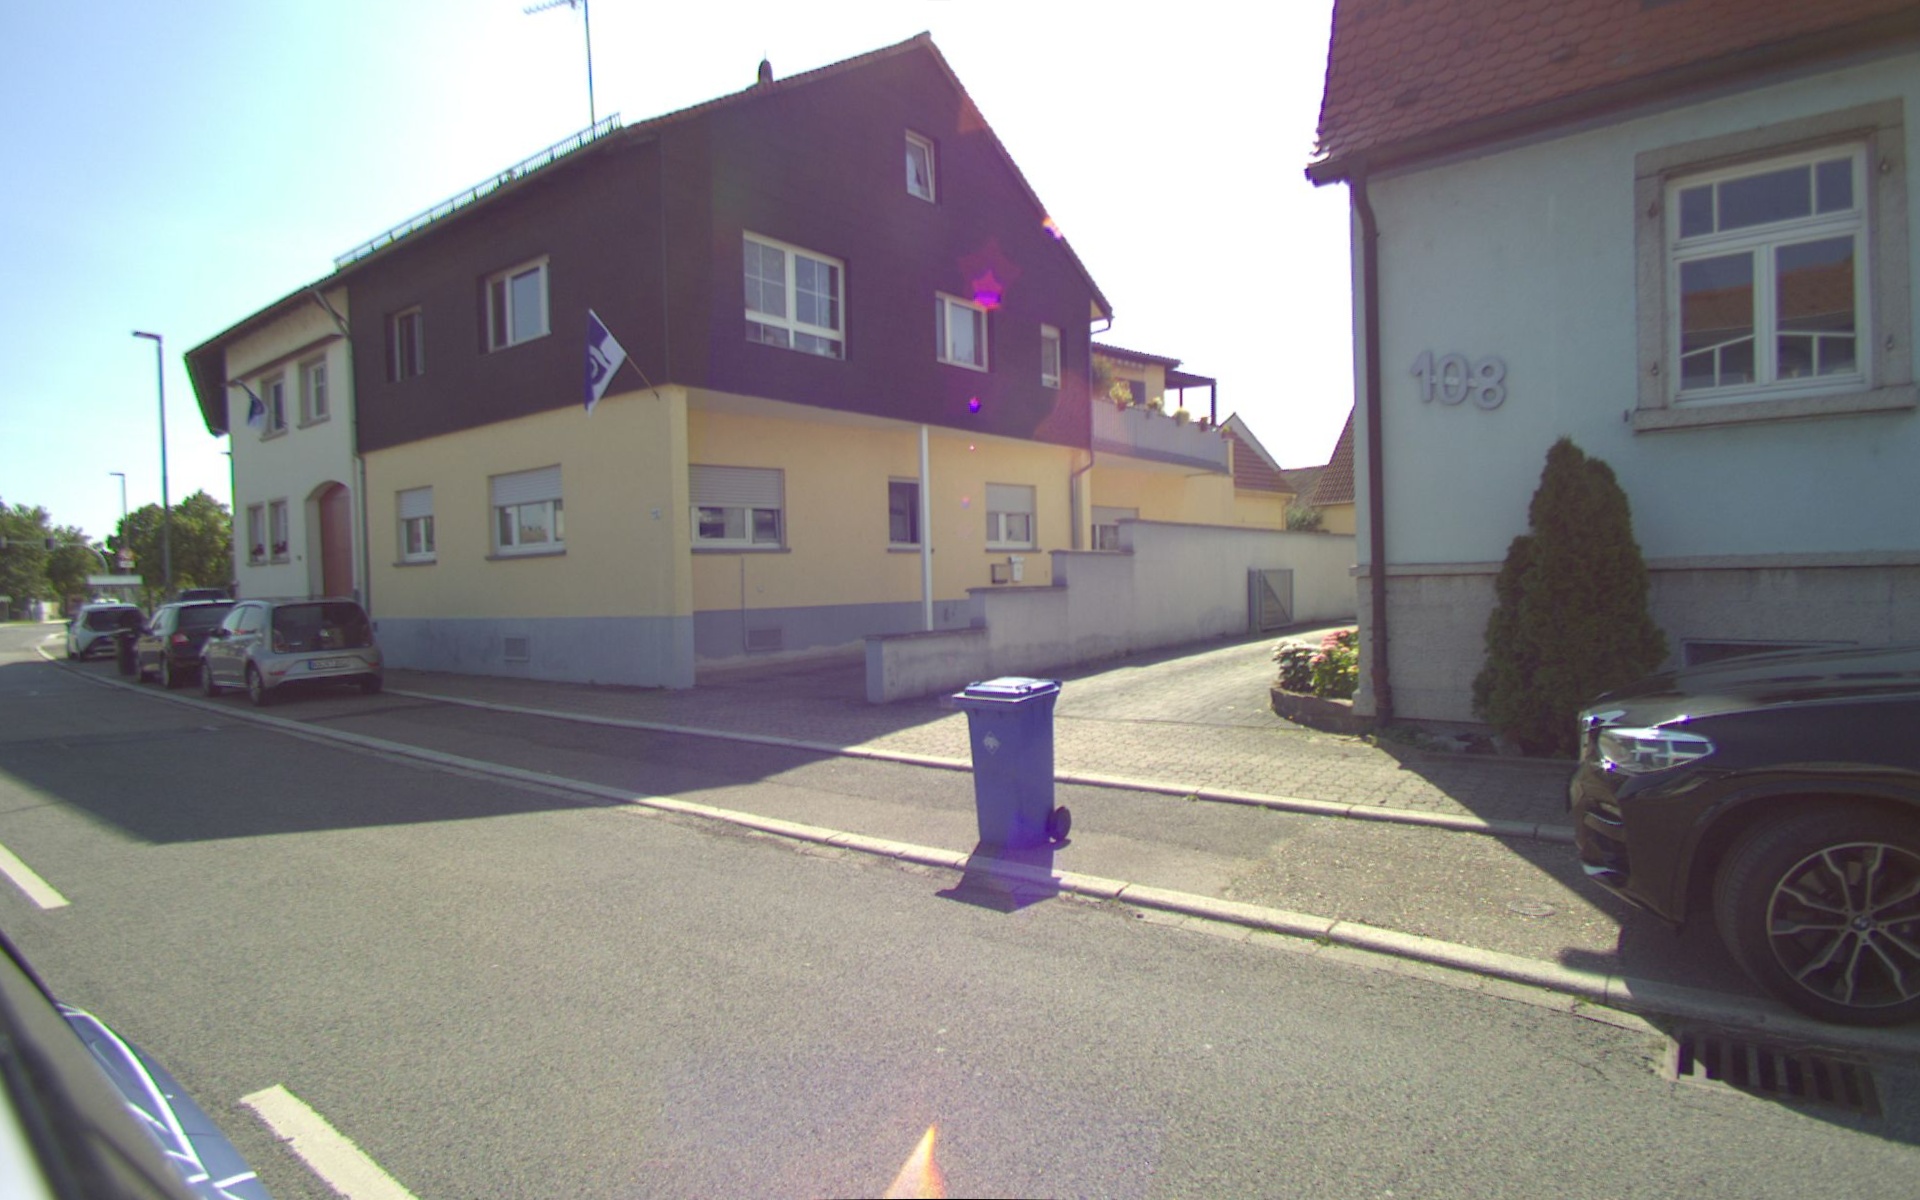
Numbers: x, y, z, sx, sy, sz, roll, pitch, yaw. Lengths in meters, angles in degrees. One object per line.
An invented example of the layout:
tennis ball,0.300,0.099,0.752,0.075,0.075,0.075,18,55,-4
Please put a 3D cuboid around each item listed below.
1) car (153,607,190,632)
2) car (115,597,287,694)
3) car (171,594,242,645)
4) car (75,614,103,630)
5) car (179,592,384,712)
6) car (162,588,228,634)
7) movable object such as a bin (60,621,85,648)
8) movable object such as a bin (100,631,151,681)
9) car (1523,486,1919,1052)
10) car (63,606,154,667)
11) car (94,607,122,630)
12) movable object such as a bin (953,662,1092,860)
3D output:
car,-49.210,1.234,63.119,1.693,1.464,3.922,-3,0,-39
car,-13.908,0.752,18.472,3.994,1.447,1.661,0,4,42
car,-30.015,0.729,40.432,1.812,1.806,4.355,-5,3,-32
car,-94.798,2.378,110.153,1.816,1.604,4.117,-1,1,-34
car,-10.387,0.704,15.403,3.780,1.512,1.624,0,3,41
car,-38.527,0.504,50.900,2.101,2.000,5.273,-8,5,-41
movable object such as a bin,-32.182,1.250,36.694,0.514,0.943,0.552,-1,3,40
movable object such as a bin,-17.145,1.139,20.788,0.824,0.935,0.547,-2,4,36
car,4.430,0.436,2.941,4.658,1.680,1.903,-1,3,37
car,-23.227,0.933,27.579,1.664,1.473,3.653,-3,2,-43
car,-100.992,2.166,120.028,1.907,2.521,5.854,-1,1,-34
movable object such as a bin,0.362,0.882,5.783,0.530,0.989,0.591,-1,2,37
